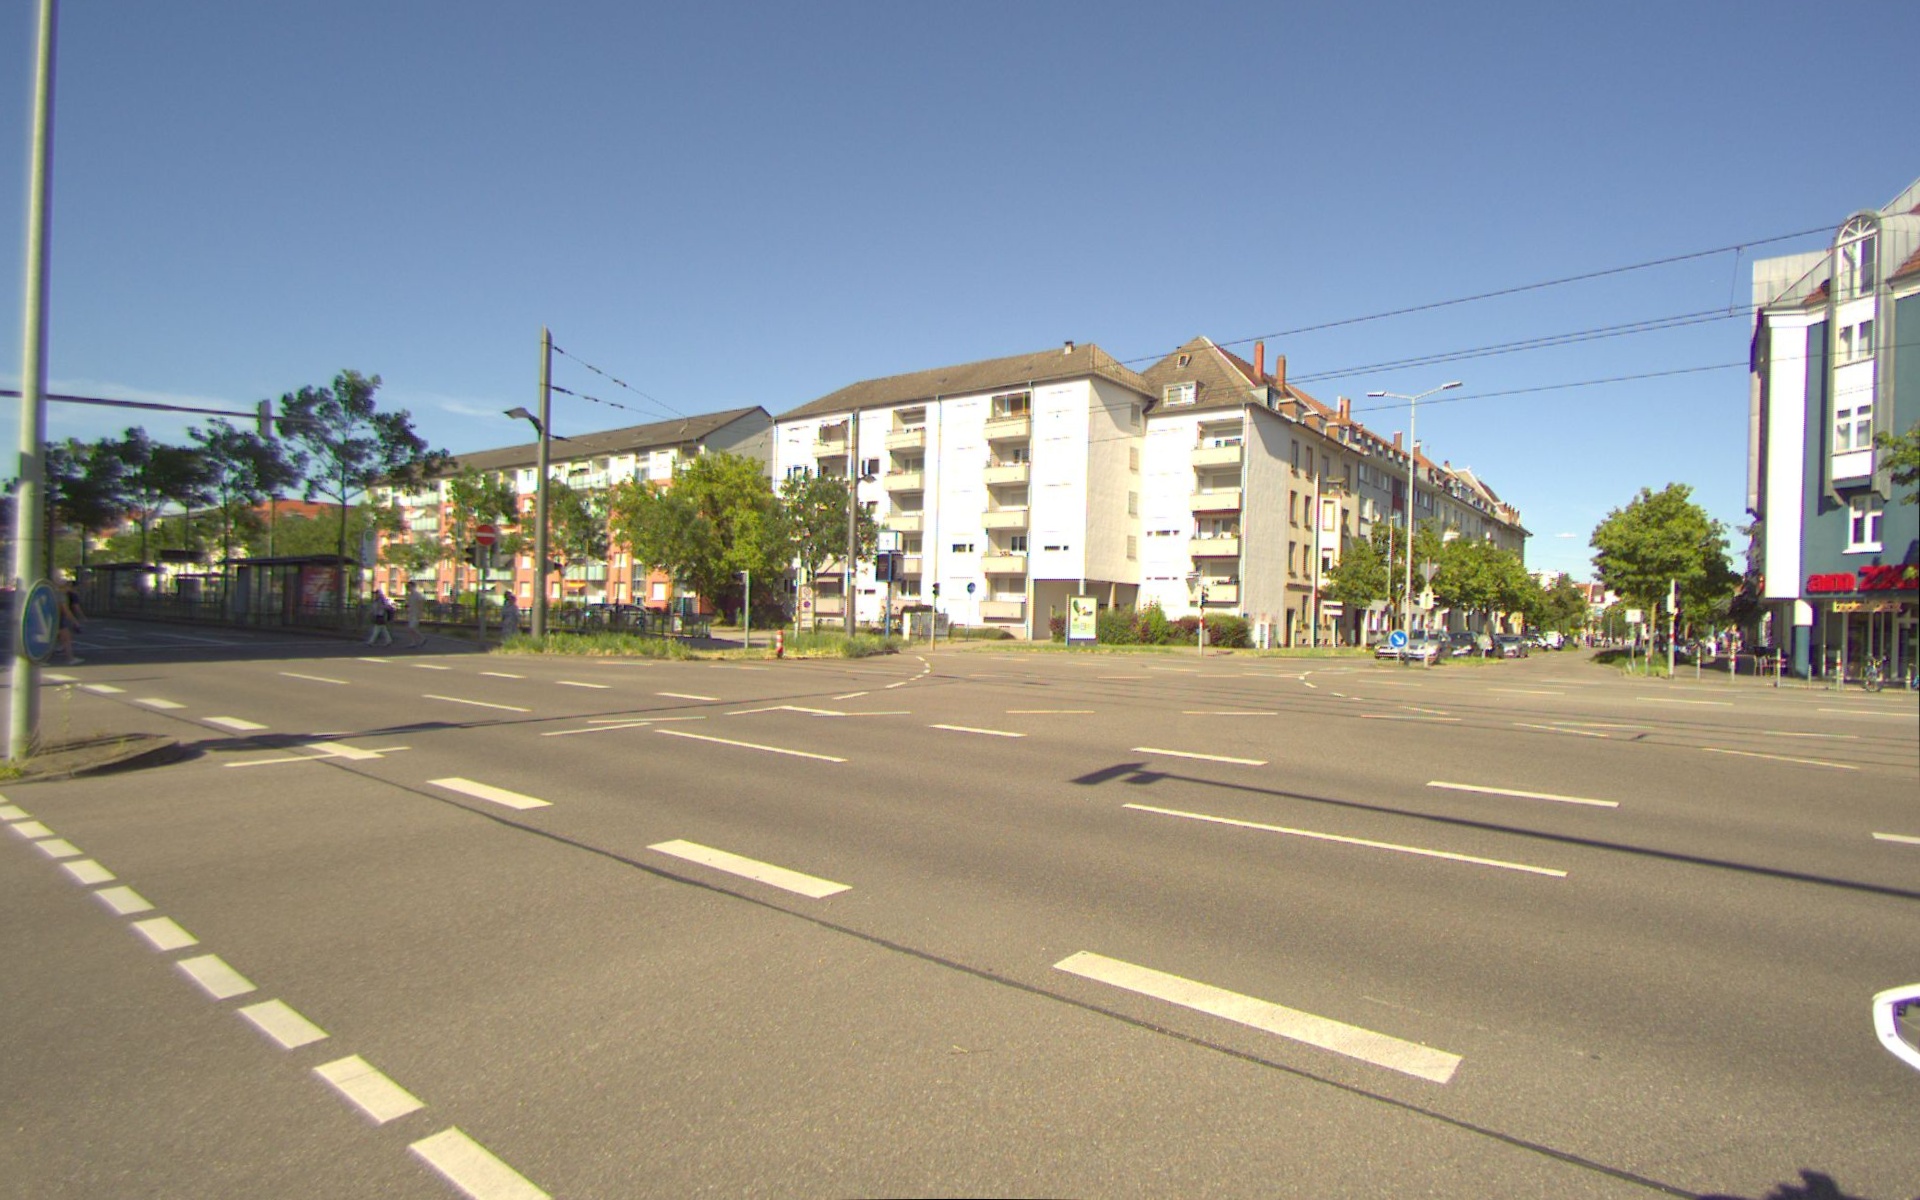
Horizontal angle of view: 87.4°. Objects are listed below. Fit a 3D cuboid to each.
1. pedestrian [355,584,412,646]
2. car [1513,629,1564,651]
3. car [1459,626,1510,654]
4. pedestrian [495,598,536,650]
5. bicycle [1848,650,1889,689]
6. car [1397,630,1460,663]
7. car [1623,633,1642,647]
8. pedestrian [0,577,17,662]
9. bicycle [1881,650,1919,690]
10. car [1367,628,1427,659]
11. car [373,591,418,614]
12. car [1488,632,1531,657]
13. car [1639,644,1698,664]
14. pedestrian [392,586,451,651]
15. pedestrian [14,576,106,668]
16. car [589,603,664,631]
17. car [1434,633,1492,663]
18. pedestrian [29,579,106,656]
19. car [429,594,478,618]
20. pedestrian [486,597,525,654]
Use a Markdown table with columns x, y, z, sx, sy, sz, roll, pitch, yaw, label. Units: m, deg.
| x | y | z | sx | sy | sz | roll | pitch | yaw | label |
| --- | --- | --- | --- | --- | --- | --- | --- | --- | --- |
| -16.639 | 0.447 | 29.014 | 0.799 | 1.749 | 1.151 | 1 | -1 | 33 | pedestrian |
| 61.573 | 4.282 | 106.902 | 4.446 | 2.040 | 1.994 | 2 | -1 | 36 | car |
| 30.918 | 2.371 | 59.120 | 1.668 | 1.451 | 4.379 | 4 | 0 | 40 | car |
| -13.489 | 0.726 | 30.487 | 0.714 | 1.554 | 0.856 | 1 | -1 | 33 | pedestrian |
| 25.574 | 1.943 | 28.292 | 0.464 | 1.041 | 1.514 | 1 | -1 | 27 | bicycle |
| 23.074 | 2.300 | 49.404 | 1.668 | 1.451 | 4.380 | 4 | 0 | 40 | car |
| 99.551 | 5.911 | 148.676 | 1.968 | 1.779 | 4.503 | 2 | -2 | 38 | car |
| -20.189 | 0.381 | 20.517 | 0.799 | 1.749 | 1.151 | 1 | -1 | 33 | pedestrian |
| 26.484 | 1.959 | 28.221 | 0.464 | 1.041 | 1.515 | 1 | -1 | 26 | bicycle |
| 23.176 | 2.310 | 53.176 | 1.668 | 1.451 | 4.379 | 4 | 0 | 40 | car |
| -49.663 | 0.195 | 88.346 | 3.935 | 1.873 | 1.993 | 1 | -1 | 37 | car |
| 36.186 | 2.936 | 66.121 | 1.667 | 1.451 | 4.381 | 4 | 0 | 39 | car |
| 52.580 | 4.001 | 74.576 | 3.520 | 1.239 | 1.725 | 2 | -2 | 36 | car |
| -15.413 | 0.534 | 28.752 | 0.908 | 1.794 | 1.151 | 1 | -1 | 33 | pedestrian |
| -17.842 | 0.433 | 19.925 | 0.799 | 1.749 | 1.151 | 1 | -1 | 33 | pedestrian |
| -21.022 | 1.084 | 63.454 | 4.325 | 1.451 | 1.689 | 4 | 0 | -14 | car |
| 27.228 | 2.587 | 54.343 | 1.669 | 1.451 | 4.377 | 4 | 0 | 42 | car |
| -21.065 | 0.416 | 23.729 | 0.799 | 1.749 | 1.151 | 1 | -1 | 33 | pedestrian |
| -41.384 | 0.465 | 82.103 | 3.935 | 1.873 | 1.993 | 1 | -1 | 37 | car |
| -14.239 | 0.796 | 31.491 | 0.799 | 1.749 | 1.152 | 2 | -1 | -10 | pedestrian |
